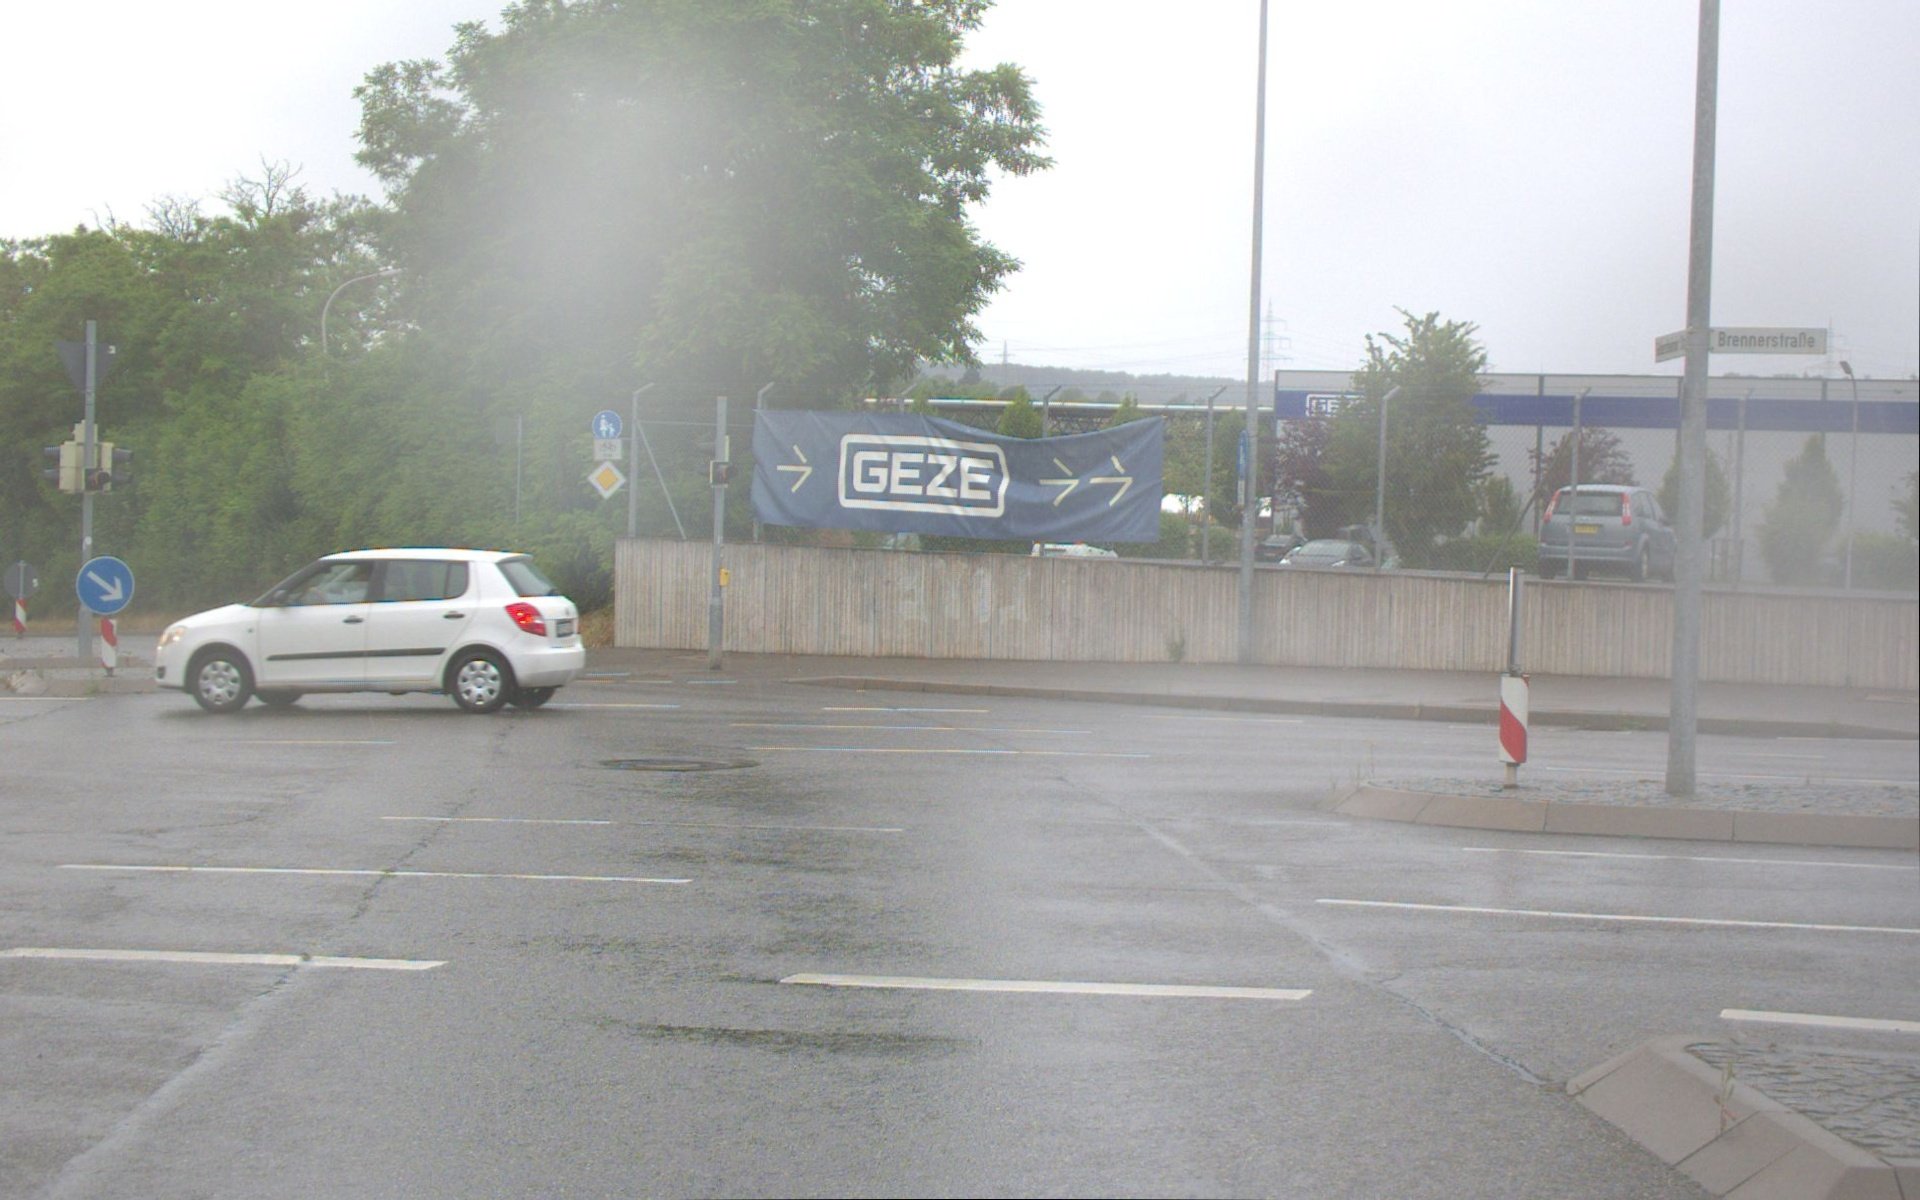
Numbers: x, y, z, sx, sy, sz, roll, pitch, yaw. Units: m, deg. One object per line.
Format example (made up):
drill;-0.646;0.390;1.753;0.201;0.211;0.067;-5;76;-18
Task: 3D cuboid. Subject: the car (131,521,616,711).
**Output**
car;-5.402;0.114;31.904;3.988;1.590;1.956;2;1;10

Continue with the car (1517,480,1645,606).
car;10.447;-0.964;57.703;1.994;2.007;3.998;1;1;11
